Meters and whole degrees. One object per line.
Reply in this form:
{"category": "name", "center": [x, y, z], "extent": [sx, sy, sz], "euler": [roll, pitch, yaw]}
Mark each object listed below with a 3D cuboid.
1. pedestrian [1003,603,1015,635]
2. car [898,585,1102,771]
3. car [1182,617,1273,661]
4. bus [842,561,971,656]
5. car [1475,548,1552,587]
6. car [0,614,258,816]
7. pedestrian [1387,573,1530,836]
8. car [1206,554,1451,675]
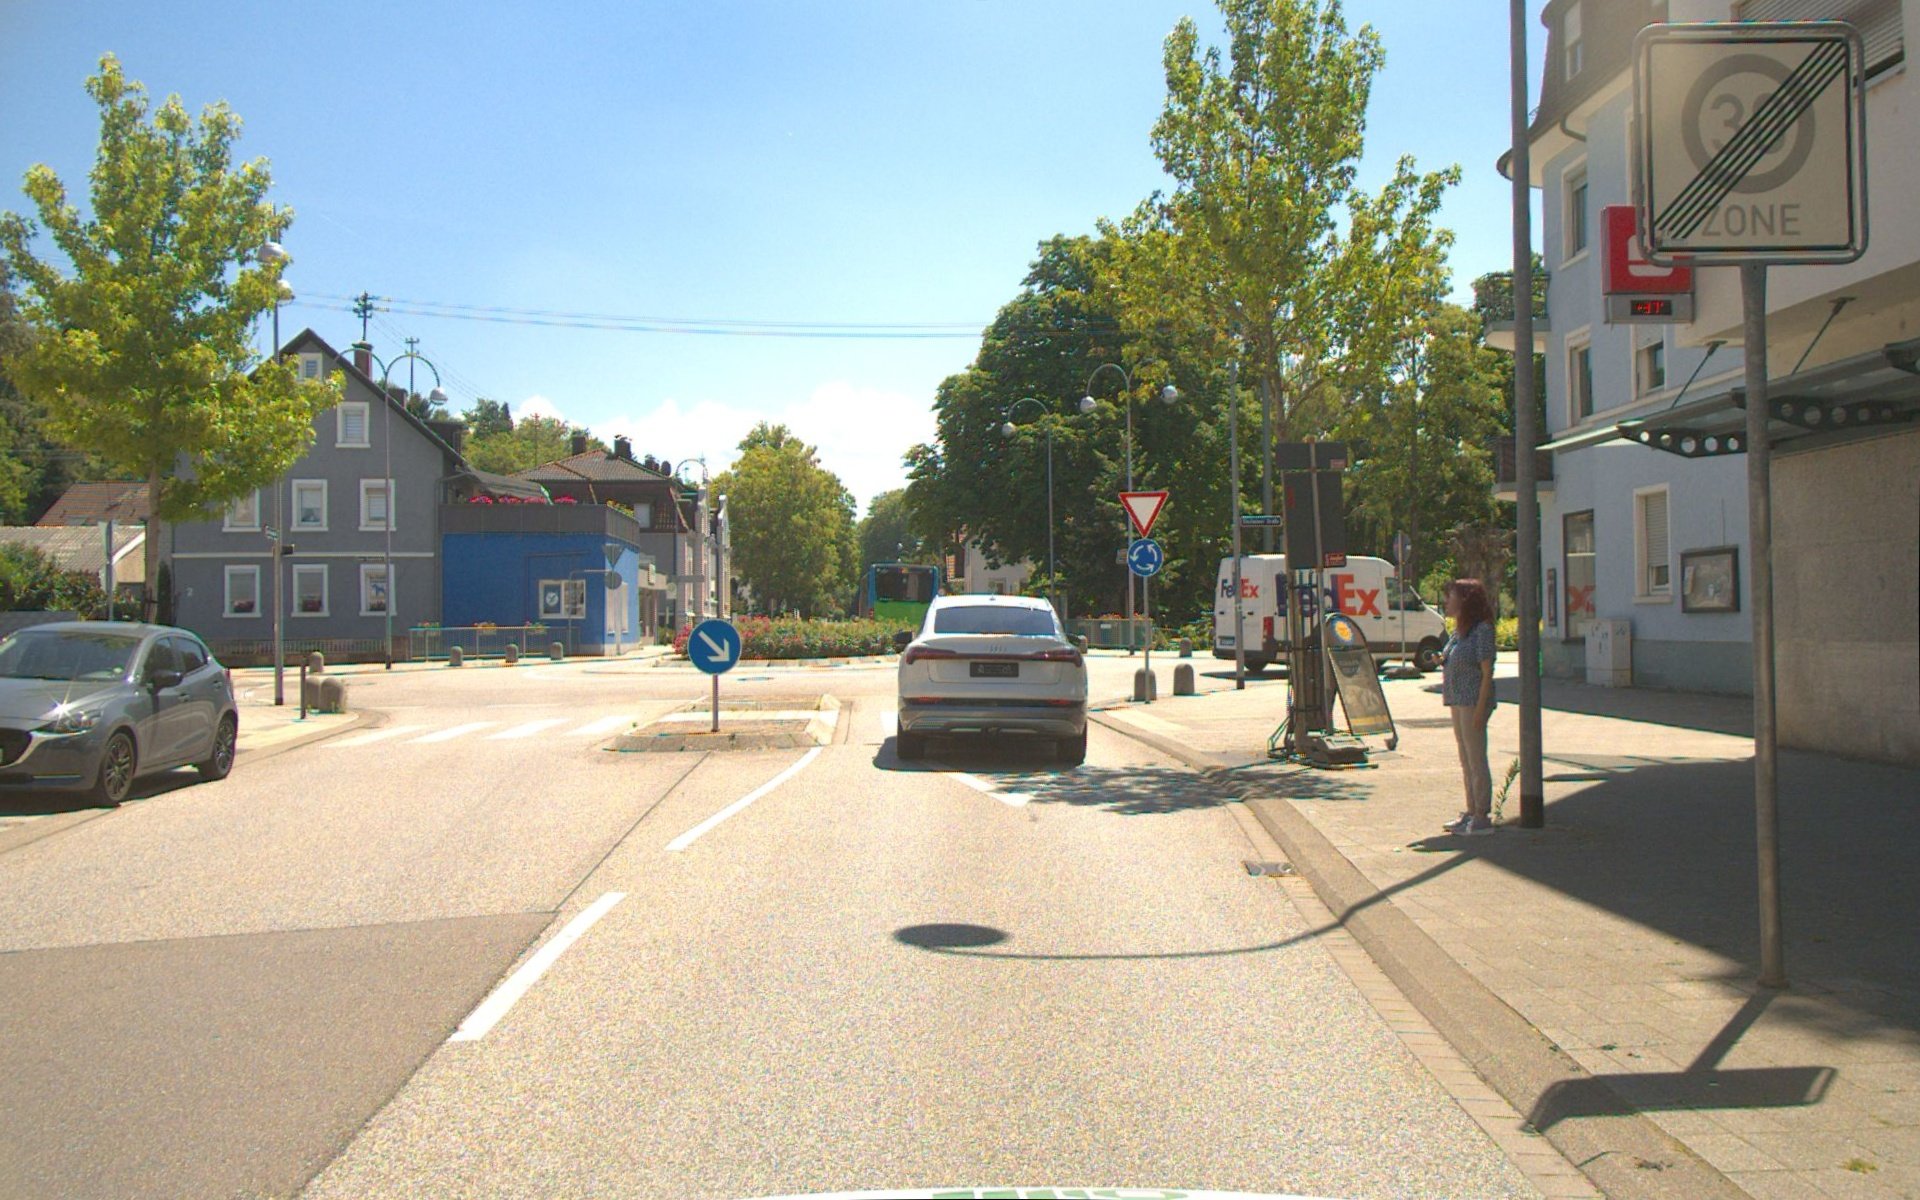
{"category": "pedestrian", "center": [2.599, 1.006, 87.594], "extent": [0.493, 1.679, 0.578], "euler": [0, -1, -8]}
{"category": "car", "center": [0.304, 0.732, 17.453], "extent": [1.860, 1.691, 4.407], "euler": [1, 0, -2]}
{"category": "car", "center": [10.087, 1.449, 62.380], "extent": [3.000, 1.580, 1.627], "euler": [-1, 0, -16]}
{"category": "bus", "center": [-2.503, 0.429, 67.069], "extent": [3.636, 3.227, 18.040], "euler": [1, -1, -7]}
{"category": "car", "center": [30.890, -1.799, 92.293], "extent": [3.906, 2.049, 1.999], "euler": [-1, 0, 24]}
{"category": "car", "center": [-7.812, 0.911, 14.798], "extent": [1.635, 1.512, 4.055], "euler": [2, -1, -6]}
{"category": "pedestrian", "center": [3.203, 0.655, 10.666], "extent": [0.717, 1.638, 0.559], "euler": [-1, -1, -1]}
{"category": "car", "center": [8.313, 0.256, 37.171], "extent": [5.405, 2.523, 1.982], "euler": [-1, 3, -29]}
